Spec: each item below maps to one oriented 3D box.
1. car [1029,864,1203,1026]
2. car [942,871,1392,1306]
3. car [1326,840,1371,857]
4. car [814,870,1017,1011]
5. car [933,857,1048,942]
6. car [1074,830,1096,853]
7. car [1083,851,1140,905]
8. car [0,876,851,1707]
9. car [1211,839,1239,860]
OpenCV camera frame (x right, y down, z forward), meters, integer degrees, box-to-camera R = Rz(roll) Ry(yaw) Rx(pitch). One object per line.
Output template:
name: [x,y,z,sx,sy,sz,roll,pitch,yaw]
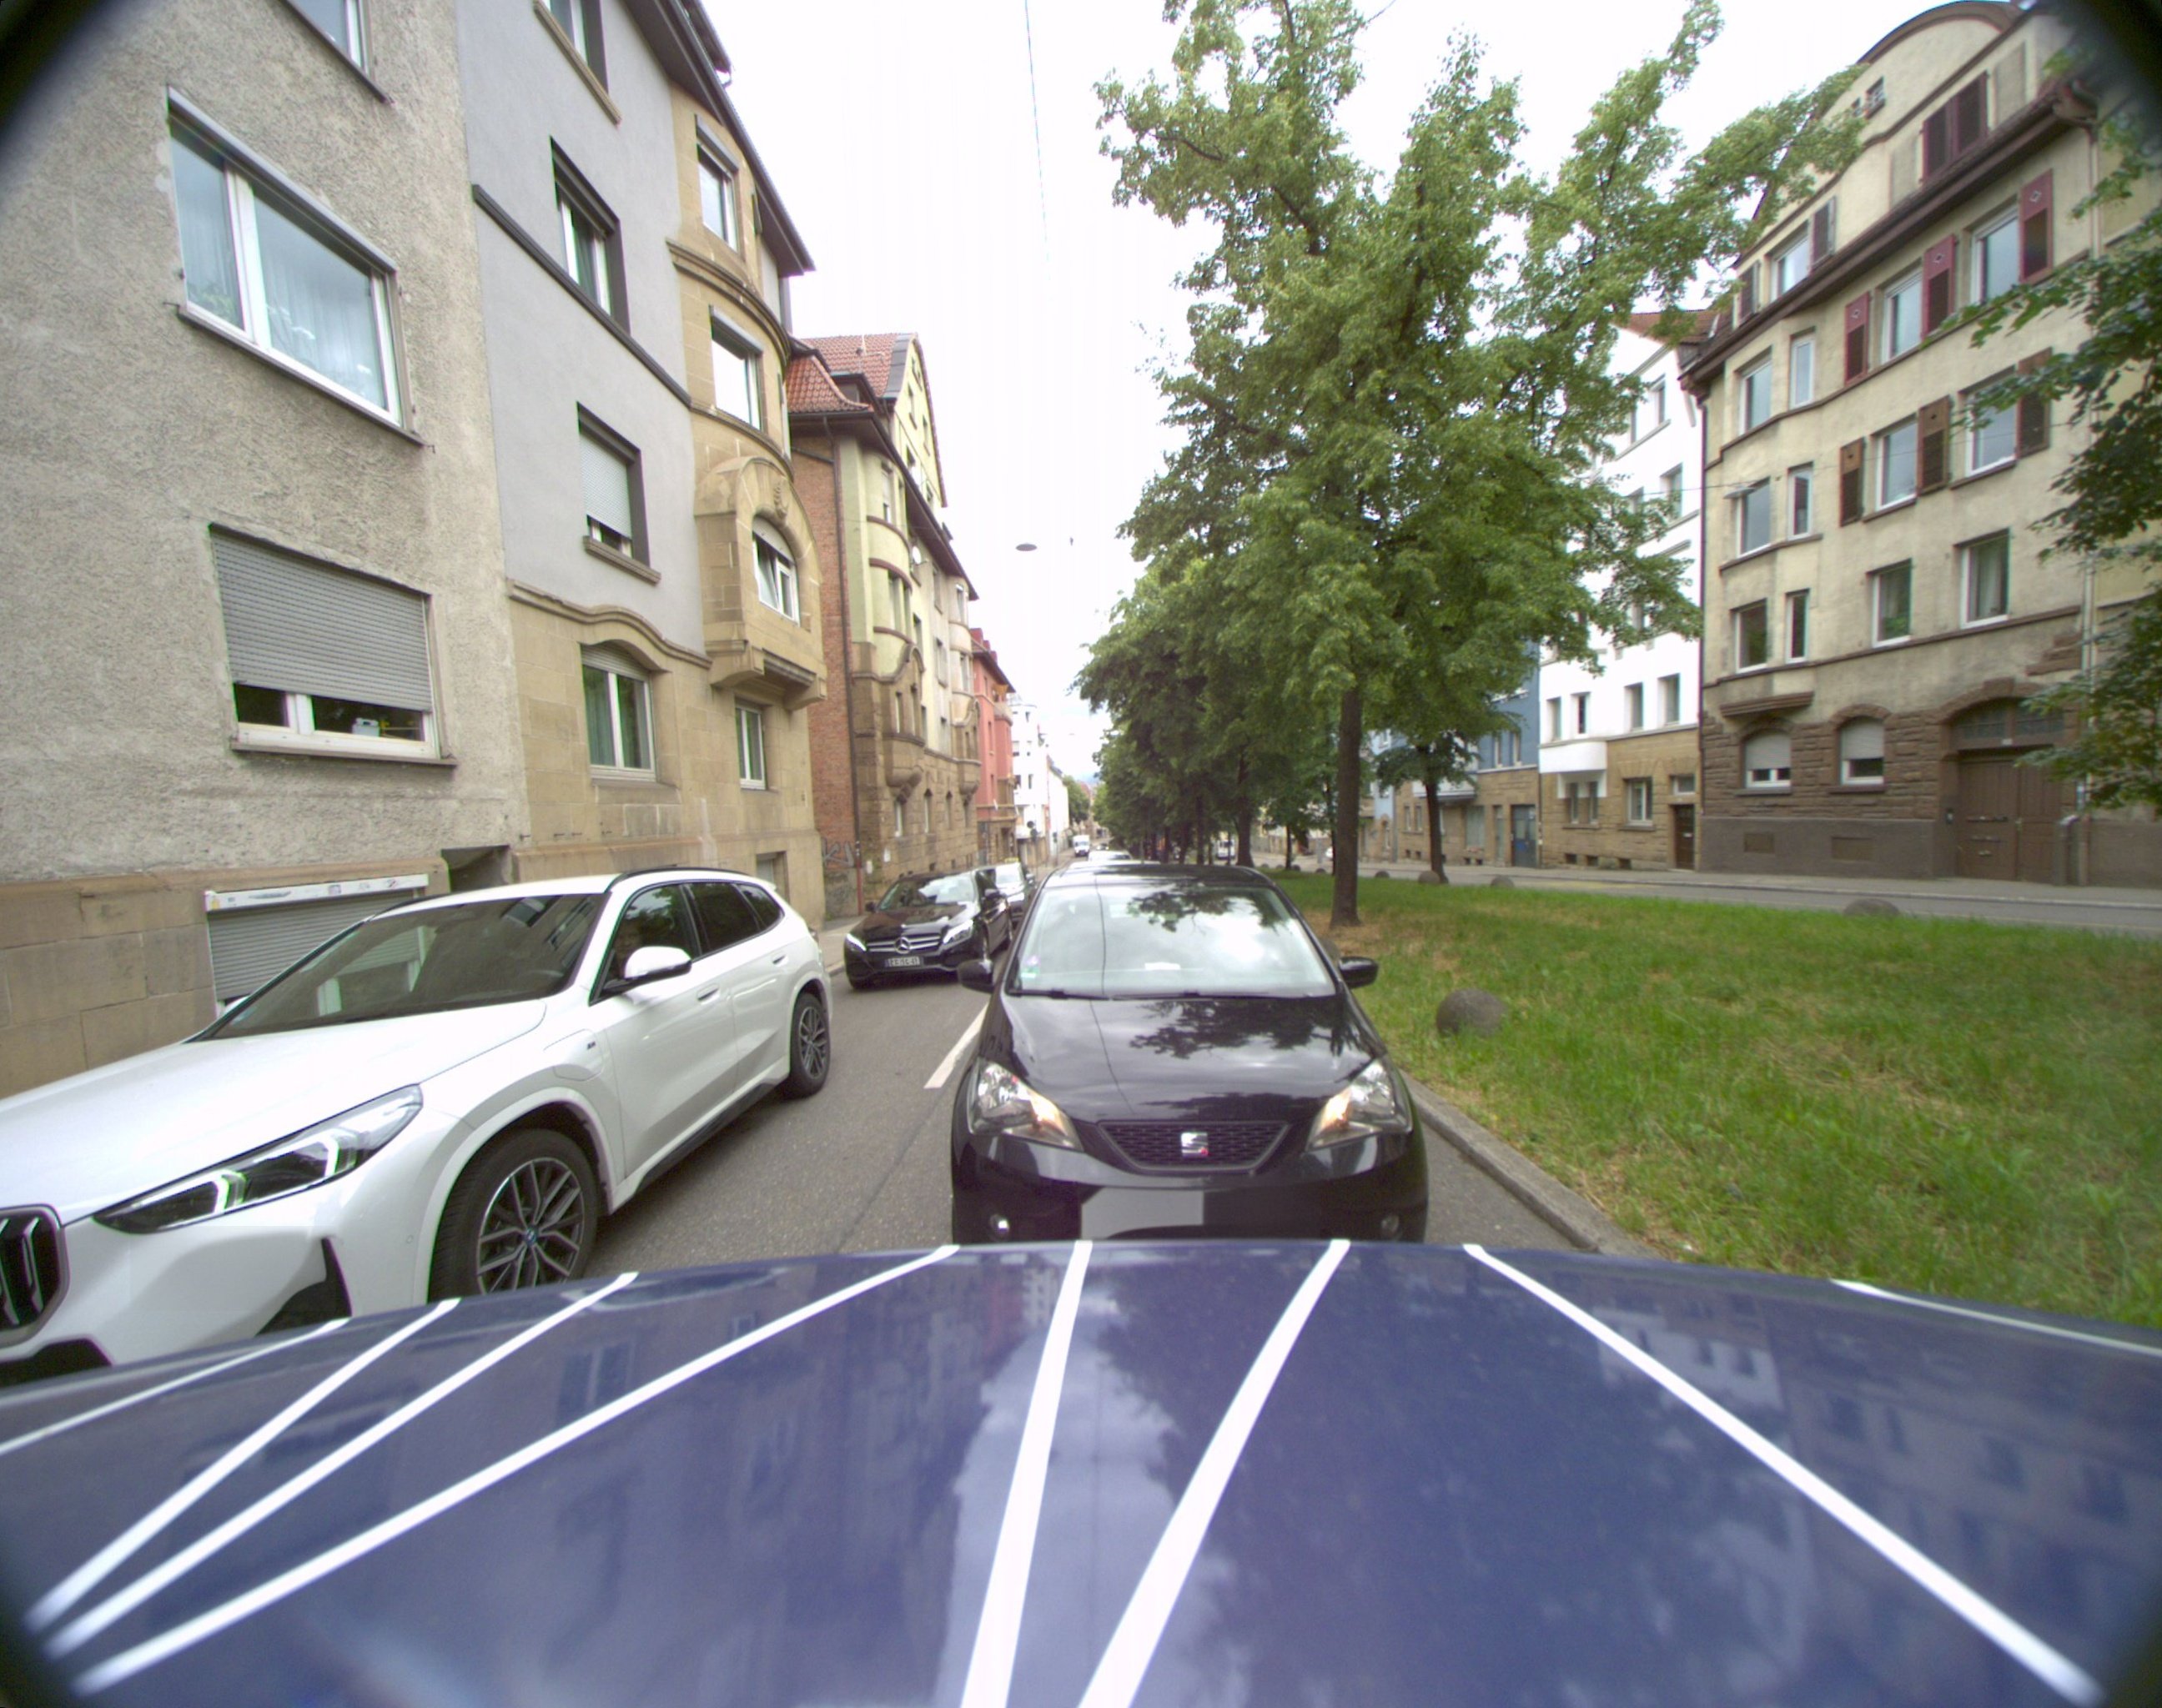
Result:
car: [0.374,0.927,9.289,1.664,1.456,3.580,-2,1,1]
car: [0.333,0.890,4.386,1.611,1.457,3.296,0,1,1]
car: [22.201,-0.461,63.105,3.291,1.323,1.672,-2,1,10]
car: [-2.154,1.073,11.172,1.884,1.369,4.205,-6,1,1]
car: [-1.987,0.962,18.004,1.936,1.506,4.303,-6,1,2]
car: [0.546,-1.695,103.368,2.716,2.879,6.452,-2,1,0]
car: [0.925,0.703,24.073,1.607,1.492,3.737,-2,1,1]
car: [-2.809,1.071,3.743,1.859,1.547,4.350,-6,1,0]
car: [14.335,-0.433,75.675,1.998,1.933,5.308,-3,0,4]
